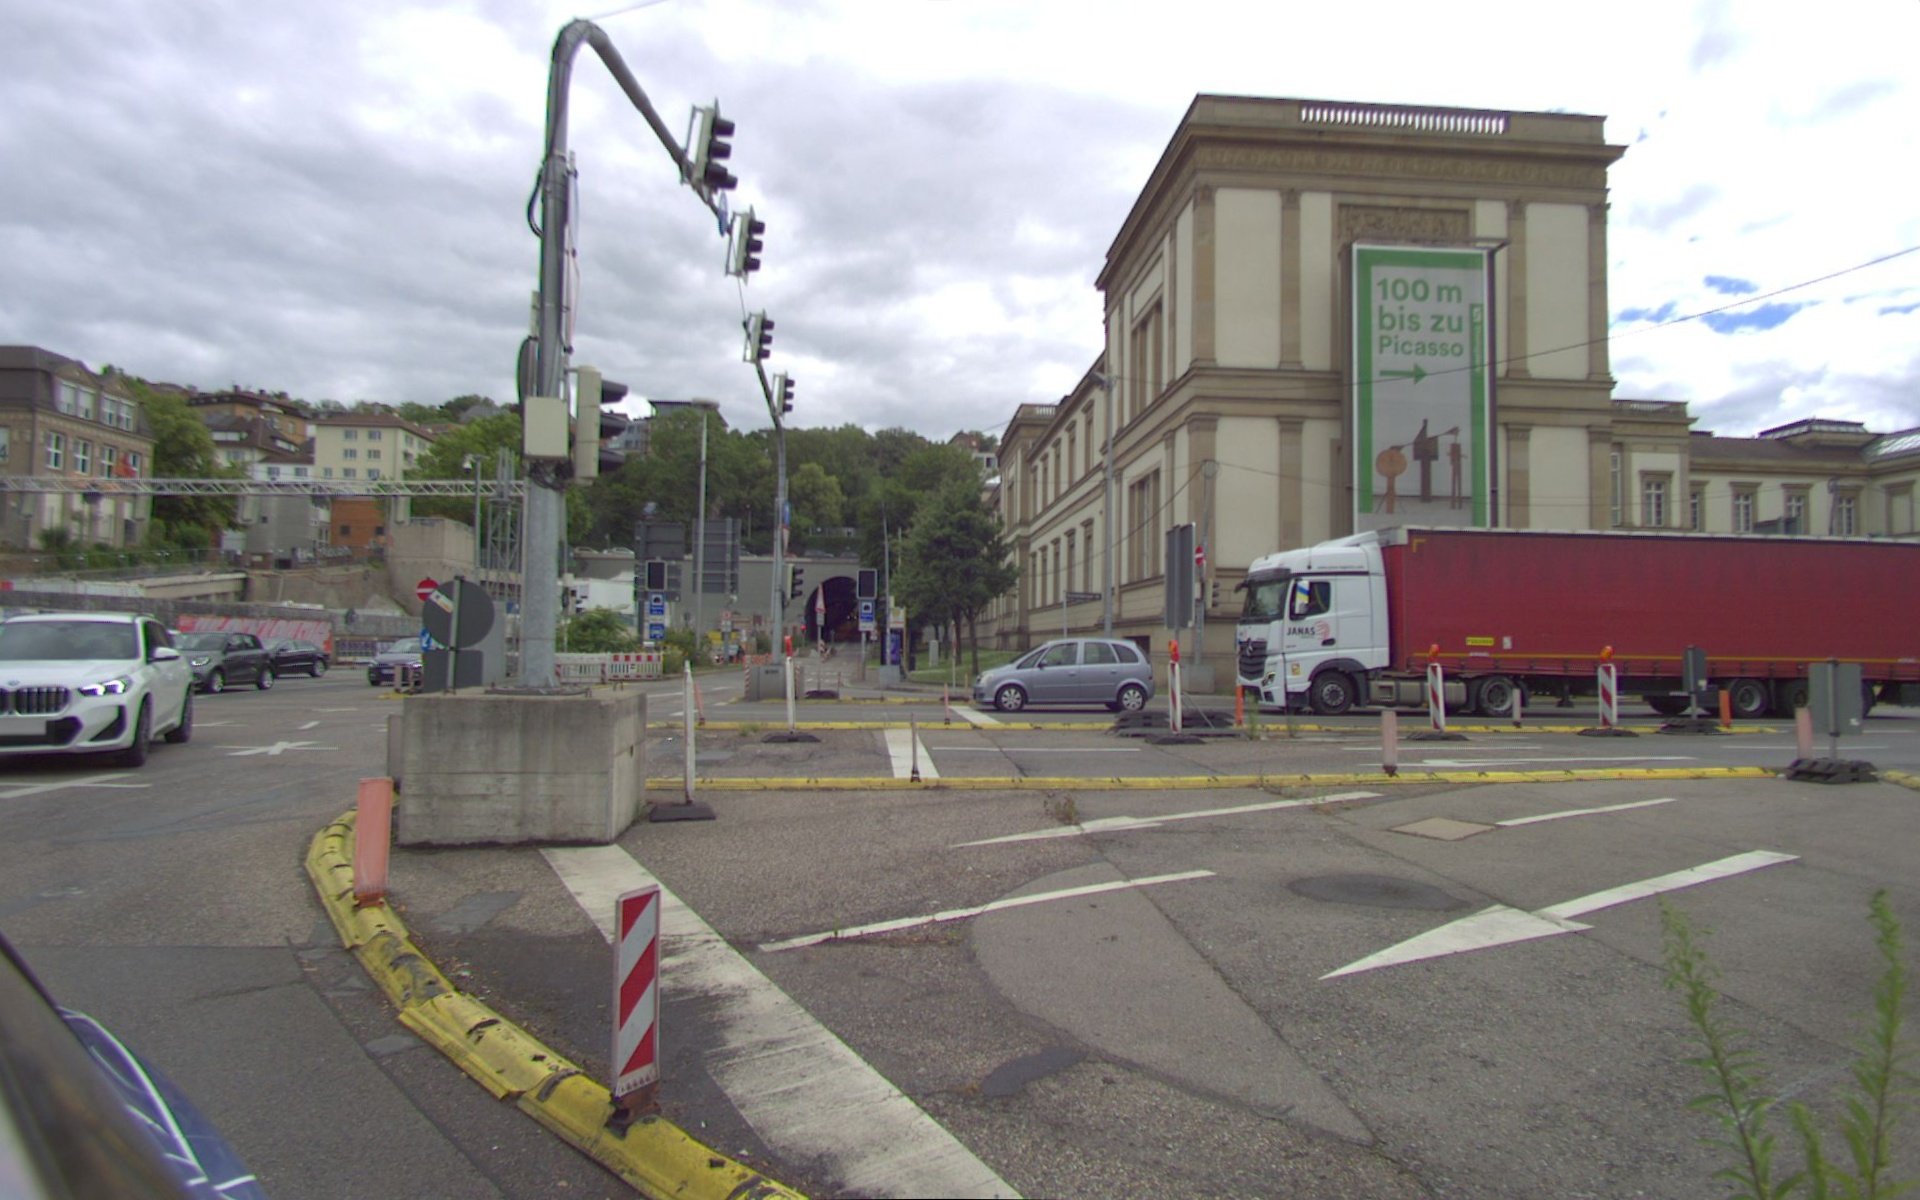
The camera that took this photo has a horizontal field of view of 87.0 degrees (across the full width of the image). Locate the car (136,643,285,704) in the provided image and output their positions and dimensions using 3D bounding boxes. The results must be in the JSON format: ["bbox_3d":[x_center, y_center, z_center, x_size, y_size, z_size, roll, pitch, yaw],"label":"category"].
[{"bbox_3d":[-18.892,1.839,25.715,1.553,1.430,3.578,1,-4,-10],"label":"car"}]

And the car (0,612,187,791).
[{"bbox_3d":[-9.695,0.959,10.775,1.782,1.617,3.724,2,-2,-30],"label":"car"}]

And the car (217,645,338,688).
[{"bbox_3d":[-23.626,2.296,35.201,1.704,1.400,3.703,1,-4,0],"label":"car"}]

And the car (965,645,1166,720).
[{"bbox_3d":[2.231,1.757,22.092,4.068,1.515,1.773,0,-2,-5],"label":"car"}]

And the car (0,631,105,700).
[{"bbox_3d":[-23.138,1.542,23.907,1.884,1.591,4.682,1,-4,-1],"label":"car"}]

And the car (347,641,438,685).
[{"bbox_3d":[-21.712,2.403,38.908,1.967,1.564,4.010,1,-3,-13],"label":"car"}]

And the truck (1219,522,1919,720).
[{"bbox_3d":[14.446,0.583,23.149,16.362,4.114,2.929,1,-4,-4],"label":"truck"}]

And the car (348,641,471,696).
[{"bbox_3d":[-17.024,2.104,31.531,1.969,1.564,4.005,1,-3,-7],"label":"car"}]
